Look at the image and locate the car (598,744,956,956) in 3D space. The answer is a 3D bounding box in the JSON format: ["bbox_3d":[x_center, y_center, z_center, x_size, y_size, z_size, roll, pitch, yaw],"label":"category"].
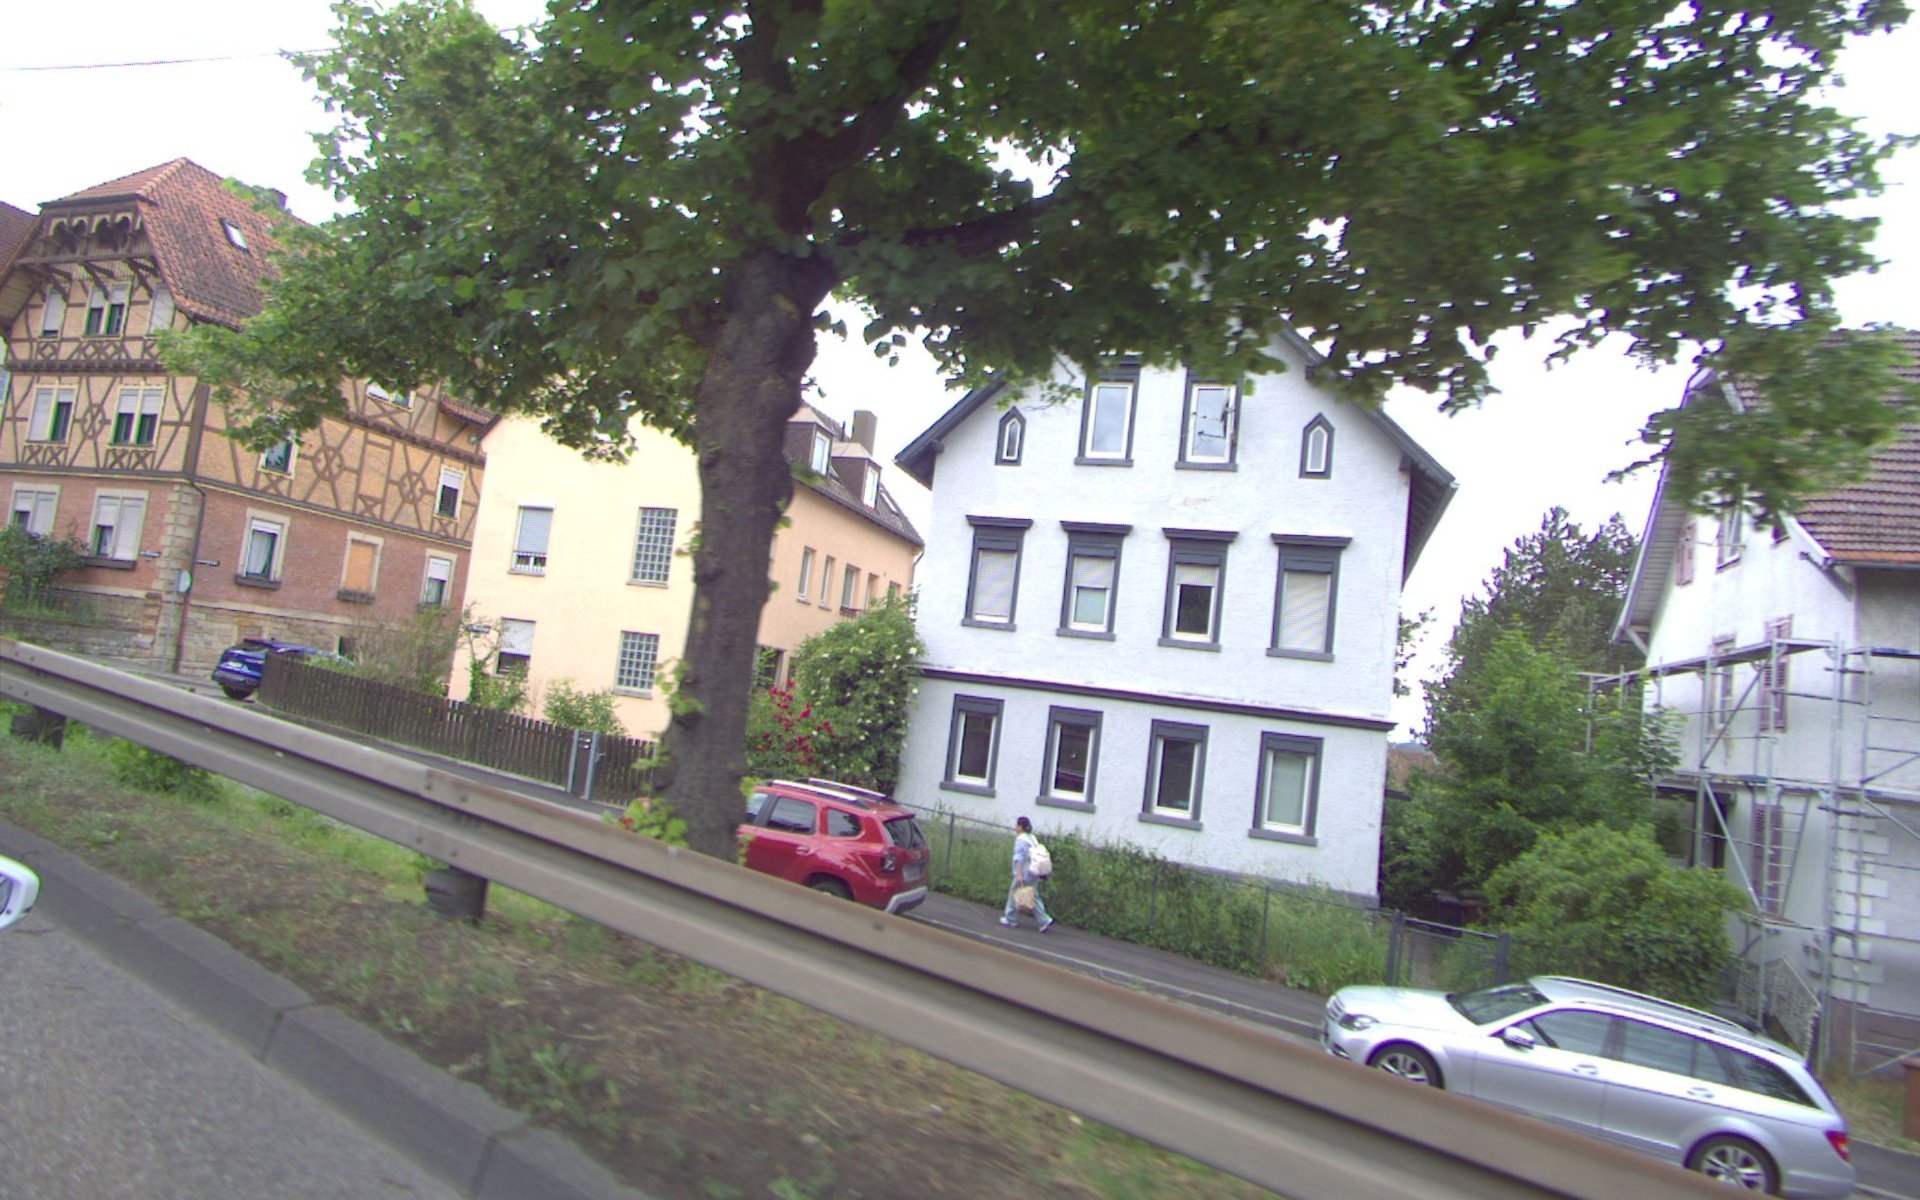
[{"bbox_3d":[-2.397,3.134,13.250,4.126,1.686,1.792,8,-5,23],"label":"car"}]

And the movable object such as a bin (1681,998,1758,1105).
[{"bbox_3d":[9.368,5.551,12.421,0.570,0.981,0.538,7,-2,26],"label":"movable object such as a bin"}]

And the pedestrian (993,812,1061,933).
[{"bbox_3d":[0.953,3.802,14.139,0.578,1.495,0.621,8,-4,22],"label":"pedestrian"}]

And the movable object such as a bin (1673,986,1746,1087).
[{"bbox_3d":[9.693,5.631,13.023,0.570,0.981,0.538,7,-2,26],"label":"movable object such as a bin"}]

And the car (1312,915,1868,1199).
[{"bbox_3d":[5.953,4.563,10.138,4.350,1.455,1.629,8,-5,19],"label":"car"}]

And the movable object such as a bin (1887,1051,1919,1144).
[{"bbox_3d":[11.512,5.950,11.912,0.570,0.892,0.538,7,-2,26],"label":"movable object such as a bin"}]

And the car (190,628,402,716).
[{"bbox_3d":[-17.091,1.934,26.148,1.963,1.588,4.014,8,-7,20],"label":"car"}]
